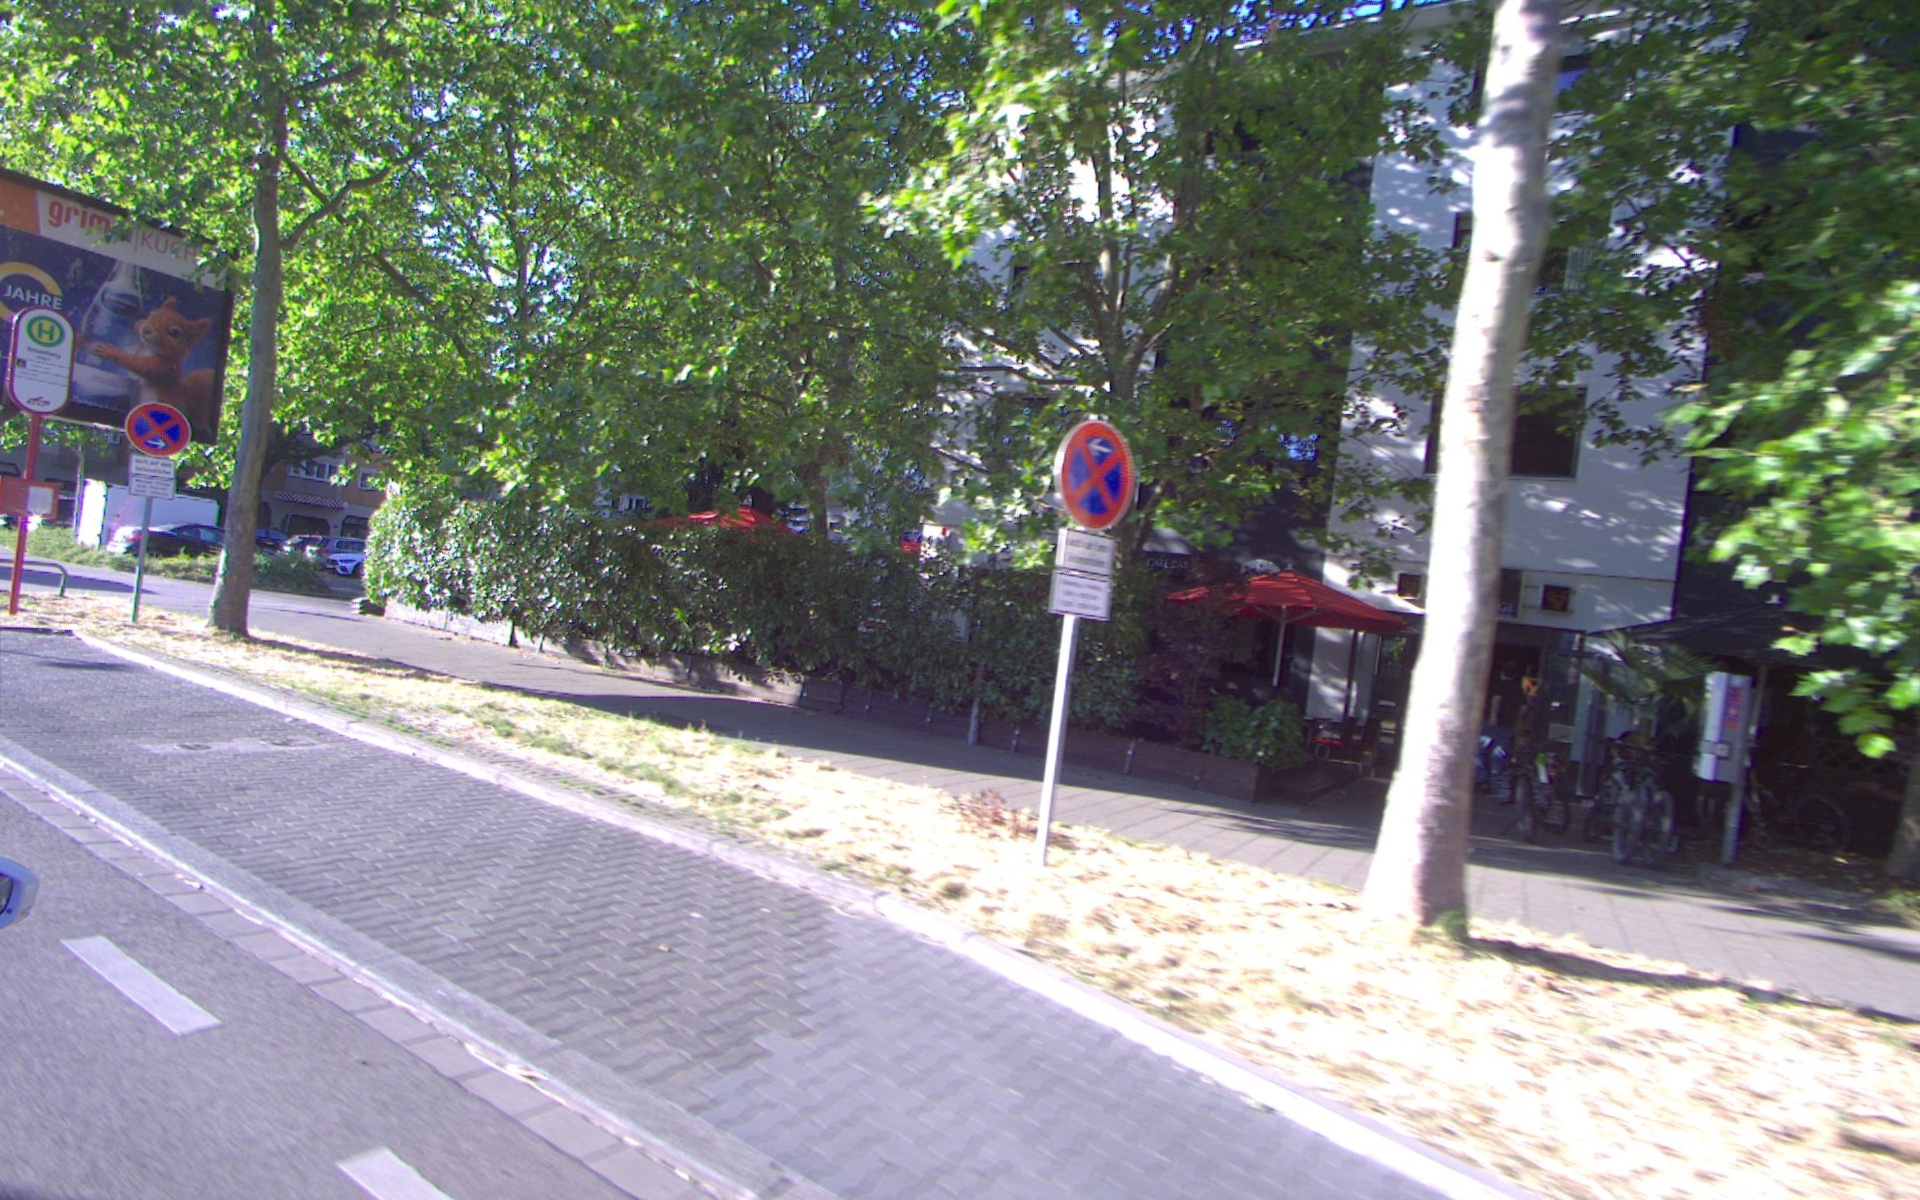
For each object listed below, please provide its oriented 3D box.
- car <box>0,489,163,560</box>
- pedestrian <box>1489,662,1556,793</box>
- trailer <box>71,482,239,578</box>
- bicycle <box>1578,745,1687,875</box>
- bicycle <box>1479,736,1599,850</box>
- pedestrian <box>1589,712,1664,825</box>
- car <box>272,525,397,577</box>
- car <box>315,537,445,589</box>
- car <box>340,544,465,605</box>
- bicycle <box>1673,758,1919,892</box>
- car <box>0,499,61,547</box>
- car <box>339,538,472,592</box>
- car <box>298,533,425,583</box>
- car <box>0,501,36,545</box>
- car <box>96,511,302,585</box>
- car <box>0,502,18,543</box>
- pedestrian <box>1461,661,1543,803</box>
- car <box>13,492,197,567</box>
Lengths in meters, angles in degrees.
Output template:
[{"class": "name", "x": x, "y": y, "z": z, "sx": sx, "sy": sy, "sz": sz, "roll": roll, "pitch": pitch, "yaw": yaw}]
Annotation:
[{"class": "car", "x": -28.244, "y": -2.396, "z": 32.145, "sx": 1.679, "sy": 1.657, "sz": 3.924, "roll": 6, "pitch": -1, "yaw": 33}, {"class": "pedestrian", "x": 8.766, "y": 1.972, "z": 15.677, "sx": 0.689, "sy": 1.895, "sz": 0.740, "roll": 7, "pitch": 0, "yaw": 31}, {"class": "trailer", "x": -22.150, "y": -1.904, "z": 27.754, "sx": 1.849, "sy": 2.094, "sz": 3.067, "roll": 7, "pitch": -1, "yaw": 35}, {"class": "bicycle", "x": 7.010, "y": 2.104, "z": 10.428, "sx": 0.654, "sy": 1.036, "sz": 2.373, "roll": 7, "pitch": -1, "yaw": 39}, {"class": "bicycle", "x": 6.457, "y": 2.080, "z": 11.146, "sx": 0.654, "sy": 1.036, "sz": 2.373, "roll": 7, "pitch": -1, "yaw": 40}, {"class": "pedestrian", "x": 9.155, "y": 2.287, "z": 13.818, "sx": 0.690, "sy": 1.397, "sz": 0.739, "roll": 7, "pitch": 0, "yaw": 36}, {"class": "car", "x": -27.979, "y": -2.149, "z": 45.138, "sx": 1.842, "sy": 1.662, "sz": 4.282, "roll": 7, "pitch": -1, "yaw": 33}, {"class": "car", "x": -24.264, "y": -1.528, "z": 42.256, "sx": 1.842, "sy": 1.663, "sz": 4.279, "roll": 6, "pitch": 0, "yaw": 33}, {"class": "car", "x": -18.271, "y": -0.838, "z": 32.903, "sx": 4.172, "sy": 1.454, "sz": 1.792, "roll": 7, "pitch": -1, "yaw": 34}, {"class": "bicycle", "x": 8.916, "y": 2.359, "z": 10.747, "sx": 1.926, "sy": 0.982, "sz": 0.650, "roll": 7, "pitch": 0, "yaw": 20}, {"class": "car", "x": -37.393, "y": -3.125, "z": 38.599, "sx": 1.679, "sy": 1.607, "sz": 3.924, "roll": 6, "pitch": -1, "yaw": 33}, {"class": "car", "x": -22.428, "y": -1.390, "z": 40.853, "sx": 1.842, "sy": 1.663, "sz": 4.279, "roll": 6, "pitch": 0, "yaw": 33}, {"class": "car", "x": -26.021, "y": -1.809, "z": 43.868, "sx": 1.842, "sy": 1.663, "sz": 4.279, "roll": 6, "pitch": 0, "yaw": 33}, {"class": "car", "x": -39.410, "y": -3.293, "z": 39.713, "sx": 1.679, "sy": 1.607, "sz": 3.924, "roll": 6, "pitch": -1, "yaw": 33}, {"class": "car", "x": -19.895, "y": -1.327, "z": 26.451, "sx": 1.679, "sy": 1.352, "sz": 3.923, "roll": 6, "pitch": -1, "yaw": 34}, {"class": "car", "x": -41.391, "y": -3.445, "z": 41.051, "sx": 1.679, "sy": 1.607, "sz": 3.924, "roll": 6, "pitch": -1, "yaw": 33}, {"class": "pedestrian", "x": 7.782, "y": 1.866, "z": 14.482, "sx": 0.687, "sy": 1.895, "sz": 0.742, "roll": 7, "pitch": 0, "yaw": 16}, {"class": "car", "x": -26.236, "y": -2.127, "z": 30.996, "sx": 1.679, "sy": 1.656, "sz": 3.924, "roll": 6, "pitch": -1, "yaw": 33}]
